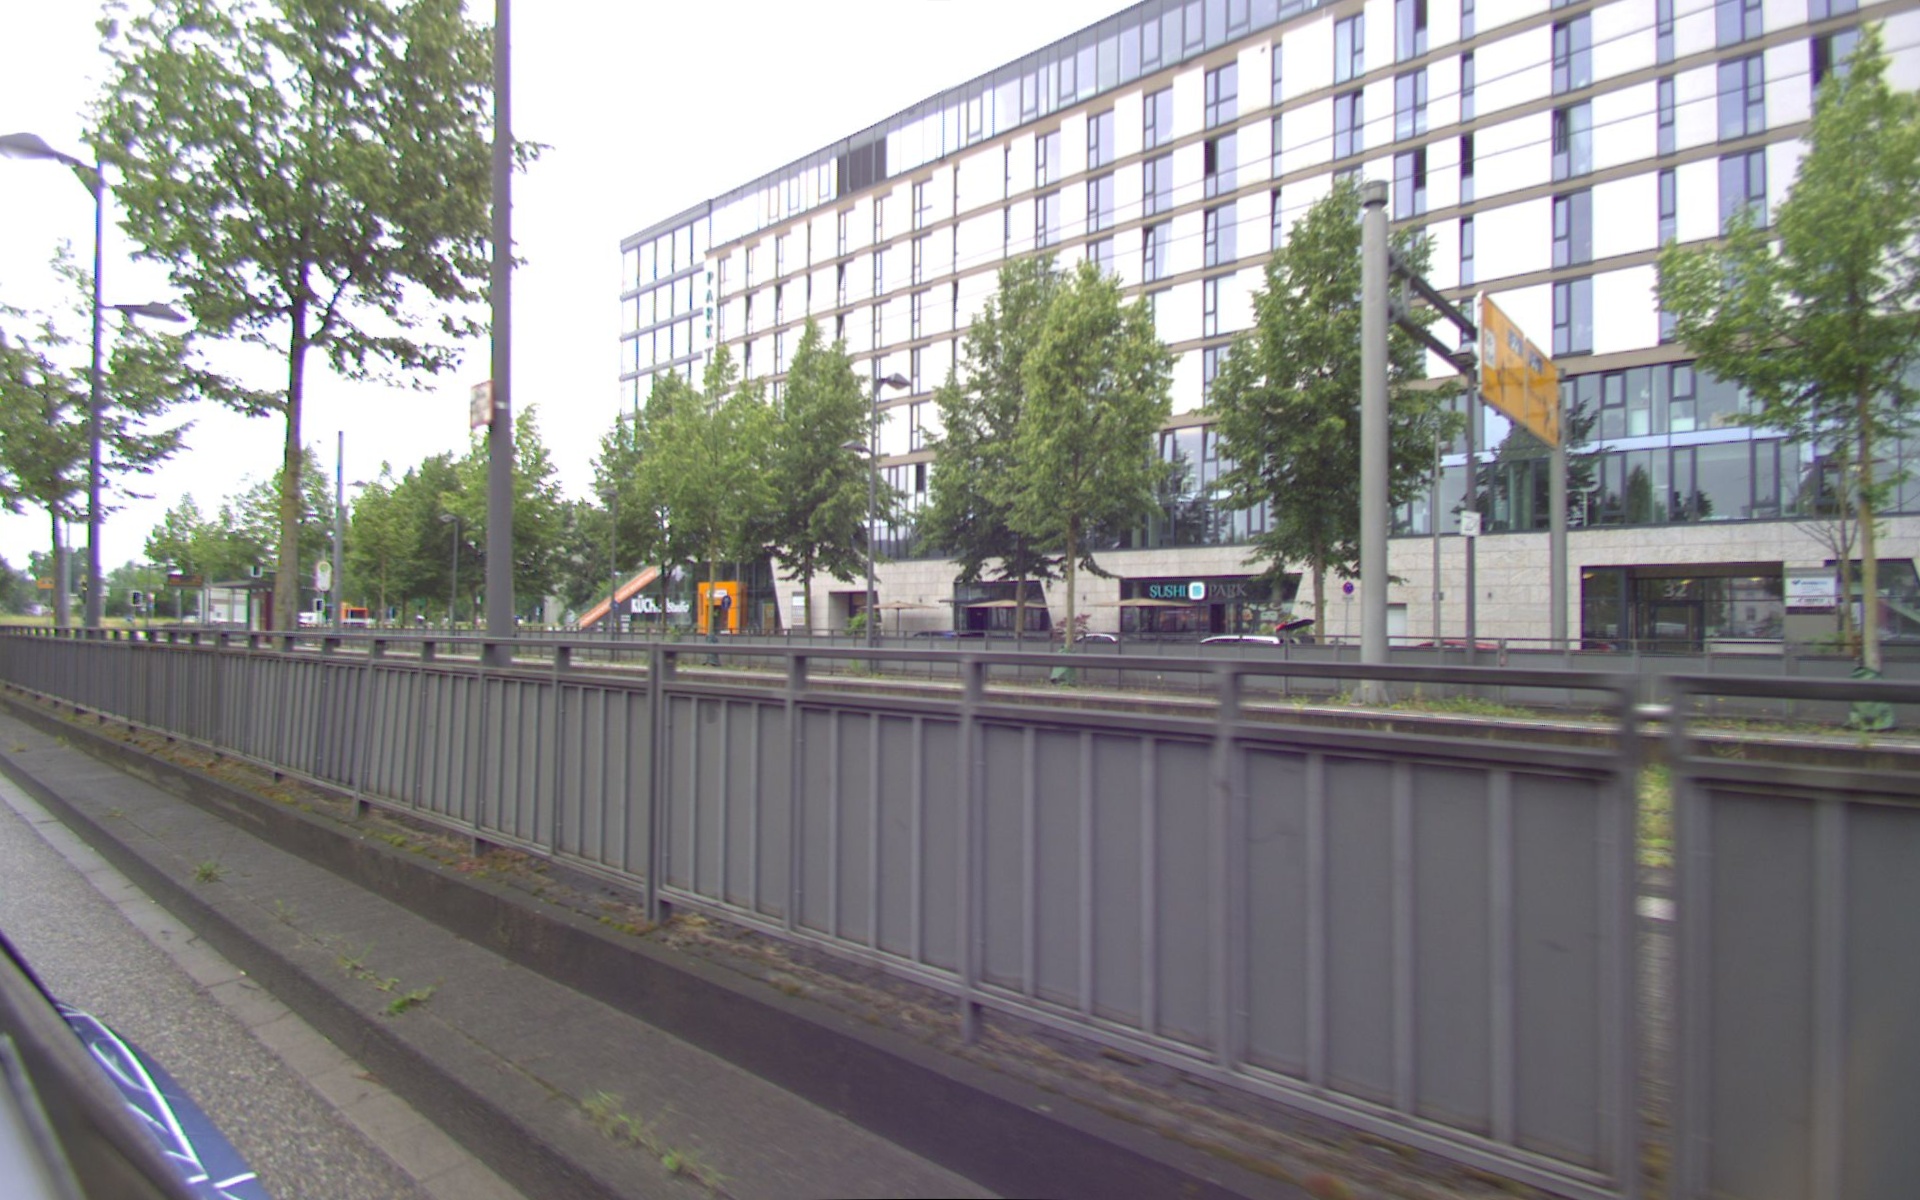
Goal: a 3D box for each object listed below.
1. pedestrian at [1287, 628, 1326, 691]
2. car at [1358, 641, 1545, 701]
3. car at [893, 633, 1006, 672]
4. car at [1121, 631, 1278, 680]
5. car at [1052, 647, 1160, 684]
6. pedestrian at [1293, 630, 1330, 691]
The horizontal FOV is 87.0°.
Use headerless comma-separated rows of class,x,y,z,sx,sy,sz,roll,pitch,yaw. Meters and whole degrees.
pedestrian,9.680,1.647,28.262,0.793,1.704,0.703,-2,-2,43
car,12.315,1.725,25.482,3.859,1.298,1.972,-1,-2,43
car,-0.421,1.913,37.703,3.858,1.298,1.973,0,-1,41
car,7.002,1.583,29.765,4.070,1.298,1.972,-1,-2,43
car,5.799,2.585,40.456,3.859,1.298,1.972,-1,-2,43
pedestrian,10.056,1.702,28.957,0.793,1.704,0.703,-2,-2,43
